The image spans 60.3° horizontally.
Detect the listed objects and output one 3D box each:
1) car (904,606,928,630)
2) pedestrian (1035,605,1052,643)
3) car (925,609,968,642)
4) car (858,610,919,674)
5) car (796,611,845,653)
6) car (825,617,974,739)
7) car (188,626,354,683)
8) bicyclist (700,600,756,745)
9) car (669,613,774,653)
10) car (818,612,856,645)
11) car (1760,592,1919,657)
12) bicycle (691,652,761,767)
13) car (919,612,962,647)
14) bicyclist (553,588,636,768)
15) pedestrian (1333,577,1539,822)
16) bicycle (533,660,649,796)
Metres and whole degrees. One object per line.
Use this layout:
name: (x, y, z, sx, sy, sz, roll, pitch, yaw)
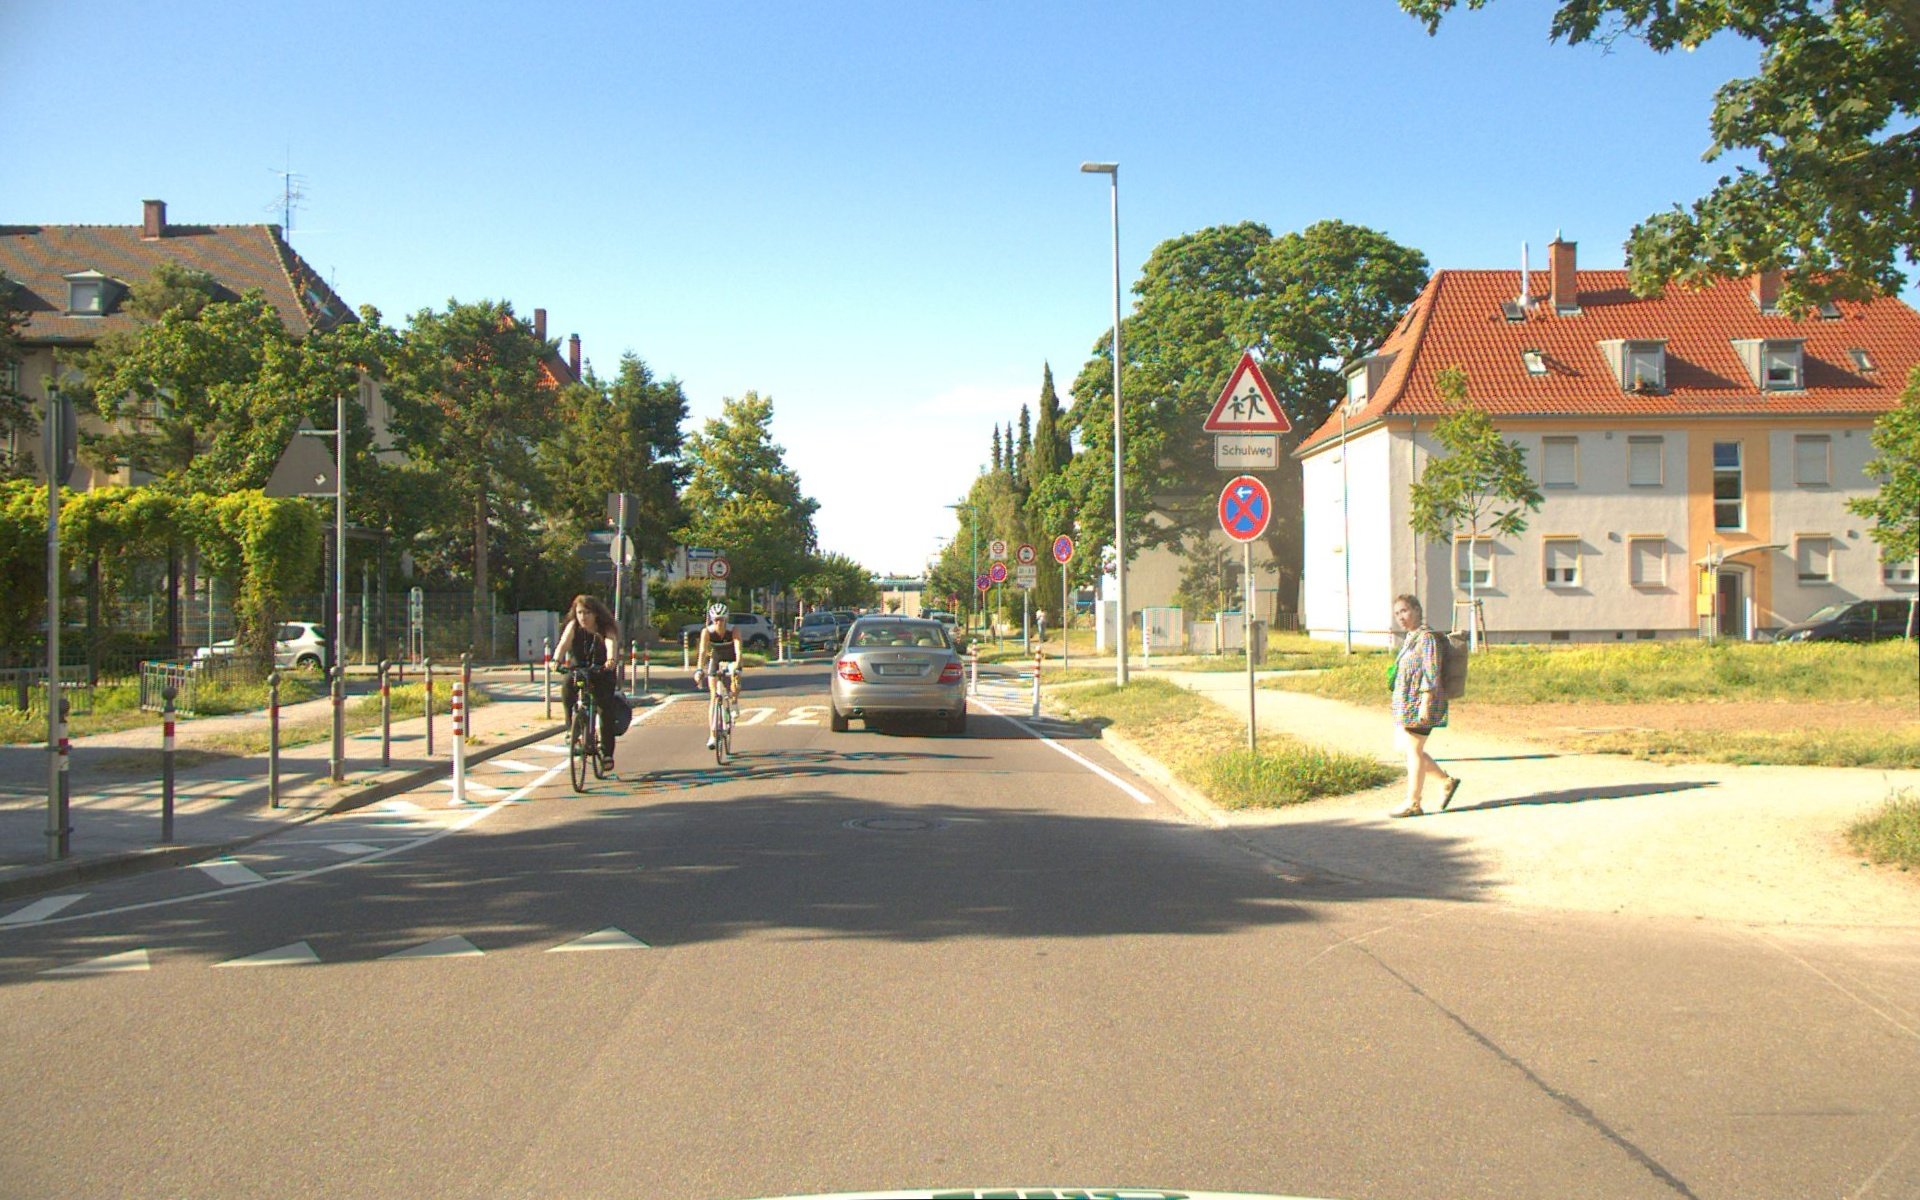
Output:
car: (-3.464, 1.419, 130.326, 1.818, 1.873, 3.998, -1, 0, -3)
pedestrian: (3.709, 1.056, 73.371, 0.750, 1.639, 0.834, -1, -1, 3)
car: (-0.739, 1.290, 85.326, 1.954, 1.638, 3.997, -1, 0, -4)
car: (-1.975, 1.097, 44.996, 1.565, 1.638, 3.641, -1, 0, -4)
car: (-6.054, 1.355, 71.984, 1.955, 1.637, 3.997, -4, 0, -4)
car: (-0.752, 0.961, 21.958, 1.799, 1.466, 3.999, 0, -1, -1)
car: (-18.270, 1.444, 43.976, 3.688, 1.423, 1.706, -1, -2, -2)
bicyclist: (-2.446, 0.753, 17.493, 0.486, 1.490, 0.687, -1, -1, -1)
car: (-9.571, 1.315, 66.631, 4.110, 1.591, 1.840, 0, -1, -5)
car: (-6.661, 1.526, 89.775, 1.955, 1.637, 3.997, -4, 0, -4)
car: (24.263, 0.659, 45.169, 3.969, 1.693, 1.721, -1, 0, -2)
bicycle: (-2.443, 1.118, 17.383, 0.495, 1.108, 1.708, -1, -1, -1)
car: (-0.904, 1.323, 74.455, 1.699, 1.506, 3.722, -1, 0, -4)
bicyclist: (-3.445, 0.722, 15.614, 0.629, 1.648, 0.637, -1, -1, -1)
pedestrian: (3.653, 0.733, 12.749, 1.071, 1.702, 0.909, -6, 1, -19)
bicycle: (-3.440, 1.164, 15.581, 0.629, 1.128, 2.065, -1, -1, -1)
